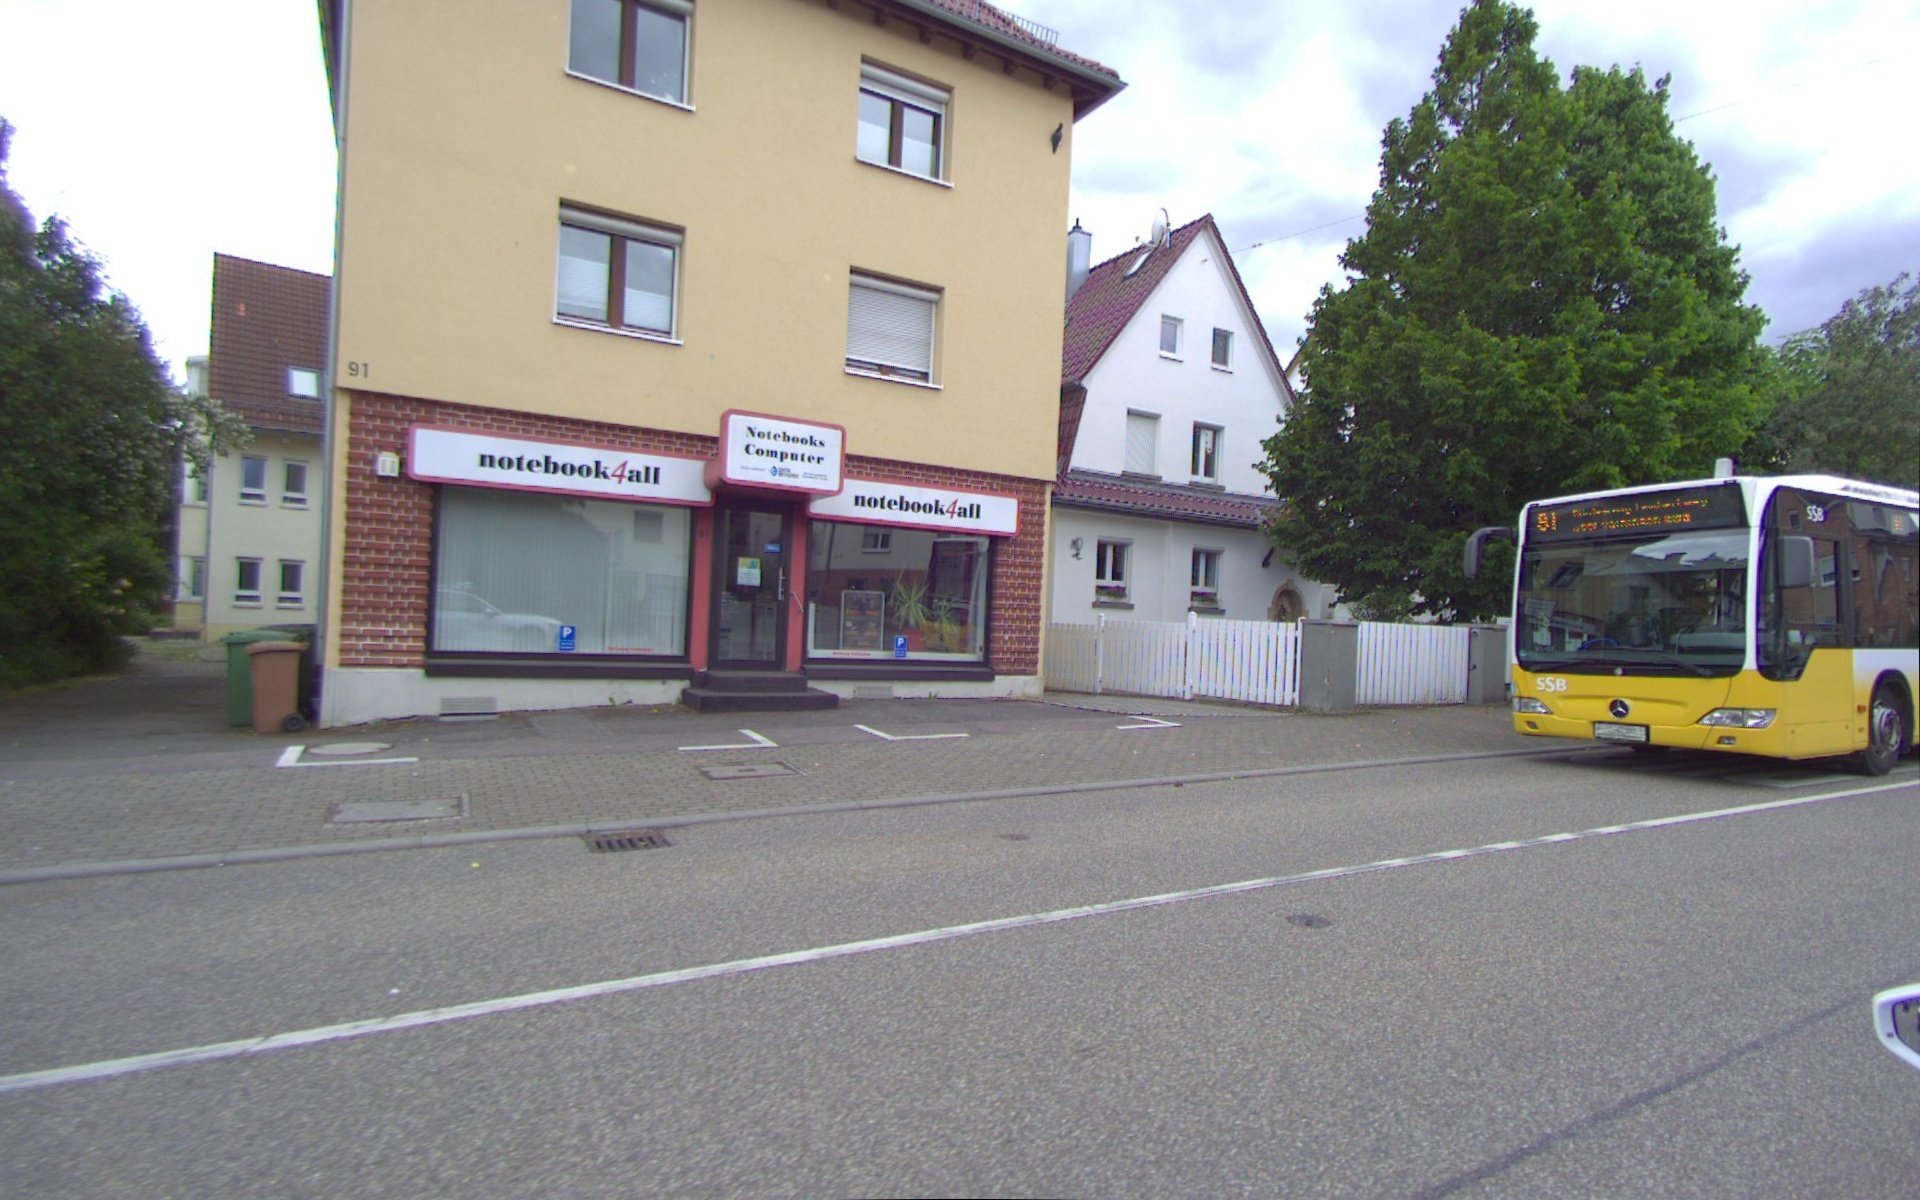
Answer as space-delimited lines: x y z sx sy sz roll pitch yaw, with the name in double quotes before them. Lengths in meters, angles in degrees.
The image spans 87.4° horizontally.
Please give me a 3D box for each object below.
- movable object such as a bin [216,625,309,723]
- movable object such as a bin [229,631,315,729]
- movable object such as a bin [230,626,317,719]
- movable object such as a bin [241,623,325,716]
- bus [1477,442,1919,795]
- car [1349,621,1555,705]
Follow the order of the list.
"movable object such as a bin" -7.502 0.794 10.836 0.681 1.016 0.552 4 -3 -26
"movable object such as a bin" -7.067 0.818 10.344 0.599 0.961 0.552 4 -3 -26
"movable object such as a bin" -7.763 0.818 11.383 0.681 1.016 0.552 4 -3 -26
"movable object such as a bin" -8.019 0.820 11.924 0.681 1.055 0.552 4 -3 -26
"bus" 11.592 0.342 12.953 11.923 3.126 2.621 2 -2 -29
"car" 10.354 1.272 21.051 4.569 1.585 1.796 1 -3 -33
